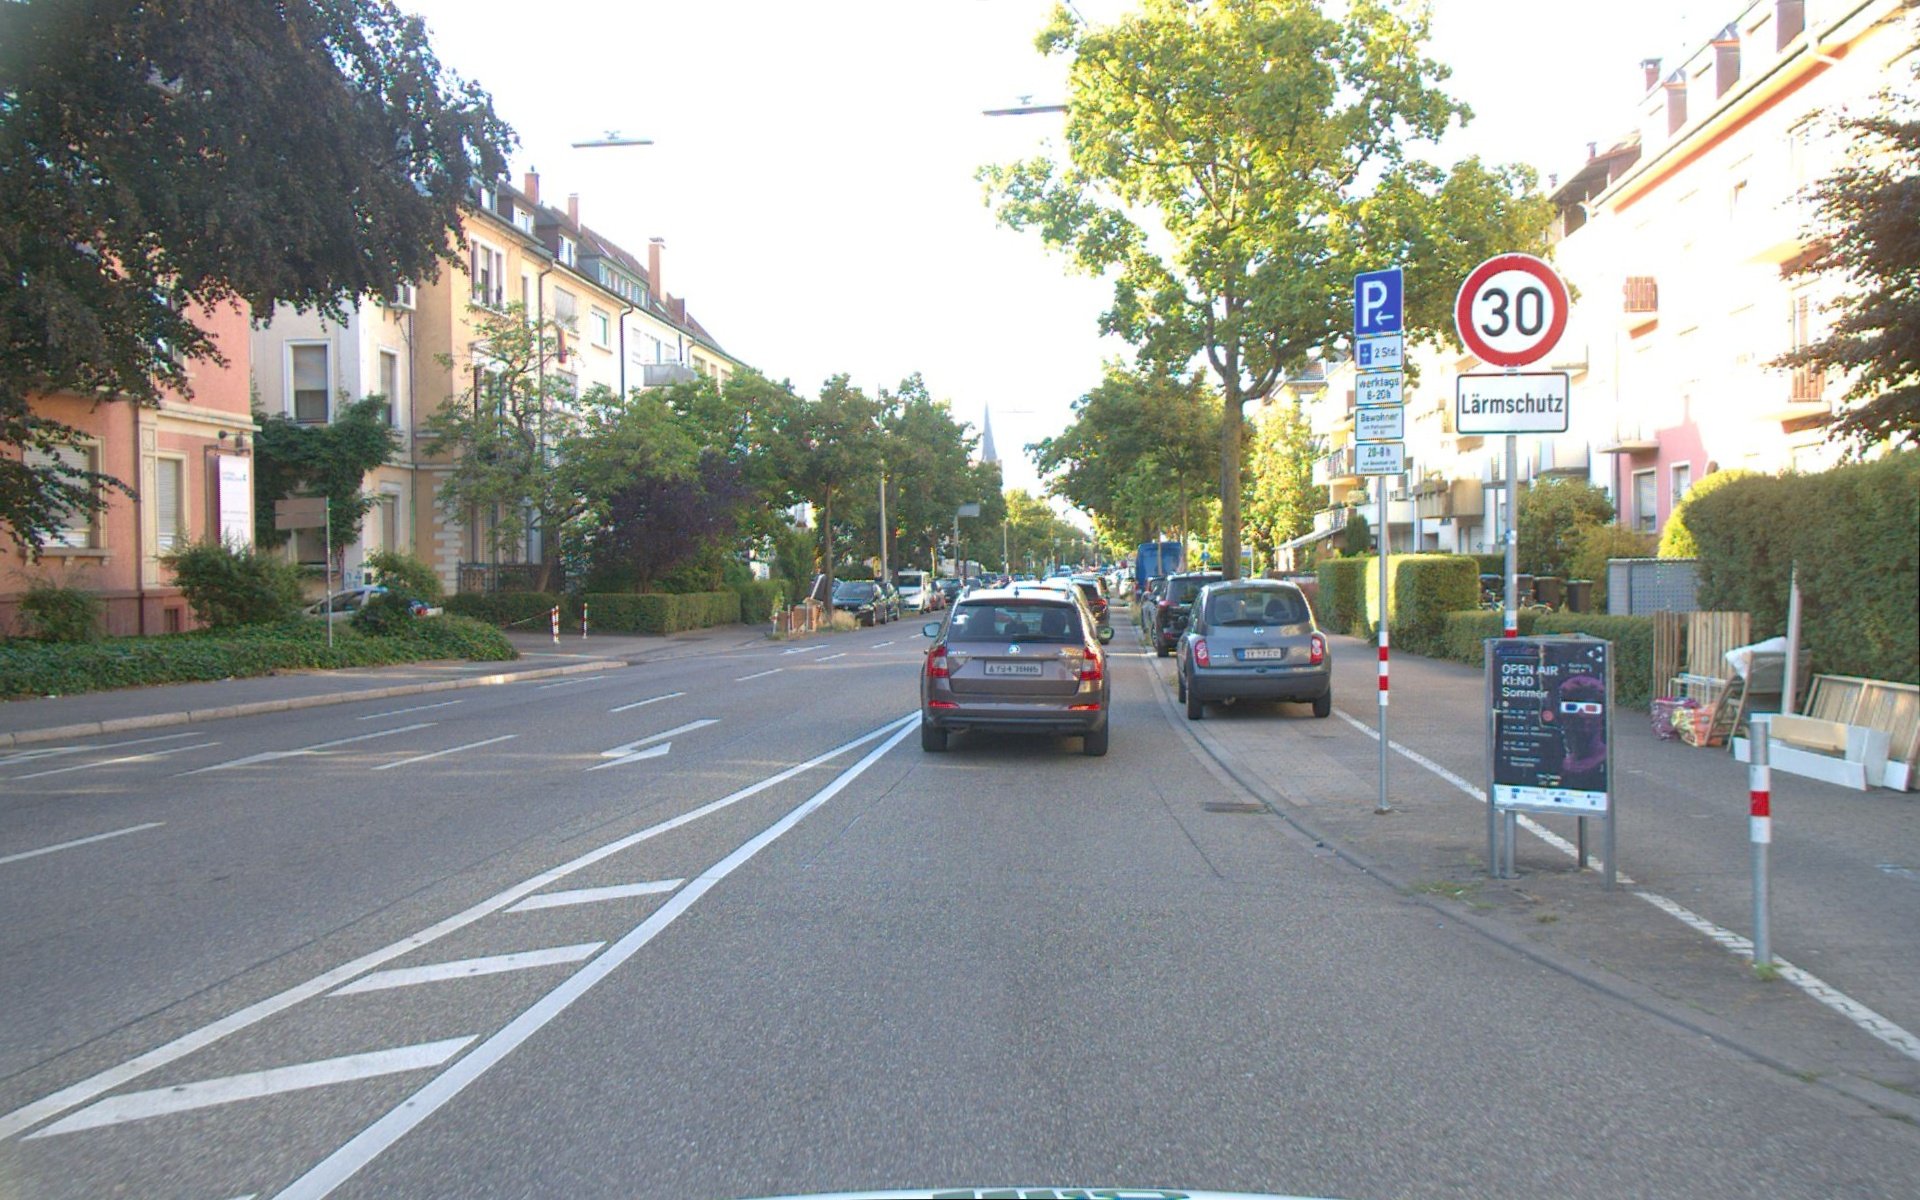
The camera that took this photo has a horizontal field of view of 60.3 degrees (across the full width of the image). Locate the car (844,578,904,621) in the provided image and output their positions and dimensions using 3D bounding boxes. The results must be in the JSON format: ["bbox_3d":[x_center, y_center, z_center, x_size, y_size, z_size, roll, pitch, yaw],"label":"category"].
[{"bbox_3d":[-3.218,-0.040,62.583,1.713,1.529,3.981,-1,1,5],"label":"car"}]

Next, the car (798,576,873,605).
[{"bbox_3d":[-6.742,-0.513,89.754,3.904,1.504,2.001,0,1,1],"label":"car"}]

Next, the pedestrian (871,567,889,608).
[{"bbox_3d":[-4.038,-0.617,83.763,0.751,2.048,0.976,-1,1,4],"label":"pedestrian"}]

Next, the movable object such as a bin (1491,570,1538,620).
[{"bbox_3d":[11.611,-0.115,34.637,0.759,1.020,0.797,-1,1,5],"label":"movable object such as a bin"}]

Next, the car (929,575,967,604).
[{"bbox_3d":[-0.662,-0.602,92.185,1.680,1.523,4.251,-1,1,5],"label":"car"}]

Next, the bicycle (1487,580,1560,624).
[{"bbox_3d":[11.383,0.033,33.438,1.341,0.868,0.369,-1,1,6],"label":"bicycle"}]

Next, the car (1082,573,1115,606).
[{"bbox_3d":[7.448,-0.597,88.889,1.696,1.680,3.544,-1,1,5],"label":"car"}]

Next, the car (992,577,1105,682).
[{"bbox_3d":[1.386,0.414,27.021,1.694,1.519,3.952,-1,1,1],"label":"car"}]

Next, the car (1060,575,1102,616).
[{"bbox_3d":[5.237,-0.209,71.306,1.696,1.680,3.544,-1,1,5],"label":"car"}]

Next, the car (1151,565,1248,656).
[{"bbox_3d":[4.781,0.152,33.509,1.696,1.680,4.294,-1,1,5],"label":"car"}]

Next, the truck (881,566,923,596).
[{"bbox_3d":[-4.156,-1.383,118.734,2.852,2.130,1.547,-1,1,5],"label":"truck"}]

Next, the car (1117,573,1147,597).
[{"bbox_3d":[11.037,-1.001,105.957,1.782,1.437,4.115,-1,1,7],"label":"car"}]

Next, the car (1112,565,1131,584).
[{"bbox_3d":[16.141,-2.567,165.457,1.693,1.846,3.953,-1,1,4],"label":"car"}]

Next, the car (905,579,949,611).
[{"bbox_3d":[-1.589,-0.276,80.308,1.680,1.445,3.789,-1,1,5],"label":"car"}]

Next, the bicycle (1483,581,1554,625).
[{"bbox_3d":[11.434,0.061,33.892,1.330,0.868,0.365,-1,1,5],"label":"bicycle"}]

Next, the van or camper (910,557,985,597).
[{"bbox_3d":[-1.227,-2.337,168.445,7.480,3.942,2.001,-1,1,3],"label":"van or camper"}]

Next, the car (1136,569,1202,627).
[{"bbox_3d":[6.328,-0.072,50.470,1.735,1.671,3.759,-1,0,3],"label":"car"}]

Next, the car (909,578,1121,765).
[{"bbox_3d":[0.653,0.582,15.930,1.693,1.519,3.954,-1,1,7],"label":"car"}]

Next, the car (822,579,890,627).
[{"bbox_3d":[-3.575,0.087,57.648,1.713,1.529,4.200,-1,1,5],"label":"car"}]

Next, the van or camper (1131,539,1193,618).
[{"bbox_3d":[7.318,-0.783,60.419,2.024,2.722,5.994,-1,0,5],"label":"van or camper"}]

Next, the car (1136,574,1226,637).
[{"bbox_3d":[5.795,0.105,43.856,1.880,1.512,4.748,-1,1,2],"label":"car"}]

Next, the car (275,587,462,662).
[{"bbox_3d":[-13.002,0.521,36.515,3.425,1.512,1.816,-1,1,1],"label":"car"}]

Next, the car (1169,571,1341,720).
[{"bbox_3d":[3.441,0.464,19.822,1.696,1.578,3.649,-1,1,5],"label":"car"}]

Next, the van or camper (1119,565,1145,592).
[{"bbox_3d":[13.474,-1.700,129.745,1.951,2.048,4.003,-1,1,5],"label":"van or camper"}]

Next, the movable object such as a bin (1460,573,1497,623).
[{"bbox_3d":[10.845,-0.051,34.623,0.569,1.020,0.797,-1,1,5],"label":"movable object such as a bin"}]

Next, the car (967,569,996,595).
[{"bbox_3d":[1.546,-1.285,116.771,1.713,1.771,3.593,-1,1,5],"label":"car"}]

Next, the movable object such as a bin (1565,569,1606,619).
[{"bbox_3d":[13.067,-0.136,34.541,0.598,1.020,0.797,-1,1,5],"label":"movable object such as a bin"}]

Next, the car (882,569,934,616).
[{"bbox_3d":[-2.266,-0.374,72.949,1.732,1.952,4.463,-1,1,5],"label":"car"}]

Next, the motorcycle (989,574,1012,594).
[{"bbox_3d":[3.229,-1.252,131.635,0.758,1.538,2.003,-2,1,-37],"label":"motorcycle"}]

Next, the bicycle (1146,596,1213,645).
[{"bbox_3d":[5.011,0.454,37.687,1.449,1.077,0.411,-1,1,-8],"label":"bicycle"}]

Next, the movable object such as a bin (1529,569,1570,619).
[{"bbox_3d":[12.321,-0.125,34.585,0.598,1.020,0.797,-1,1,5],"label":"movable object such as a bin"}]

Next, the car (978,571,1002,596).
[{"bbox_3d":[2.226,-1.210,121.401,1.475,1.787,3.696,-1,1,5],"label":"car"}]
